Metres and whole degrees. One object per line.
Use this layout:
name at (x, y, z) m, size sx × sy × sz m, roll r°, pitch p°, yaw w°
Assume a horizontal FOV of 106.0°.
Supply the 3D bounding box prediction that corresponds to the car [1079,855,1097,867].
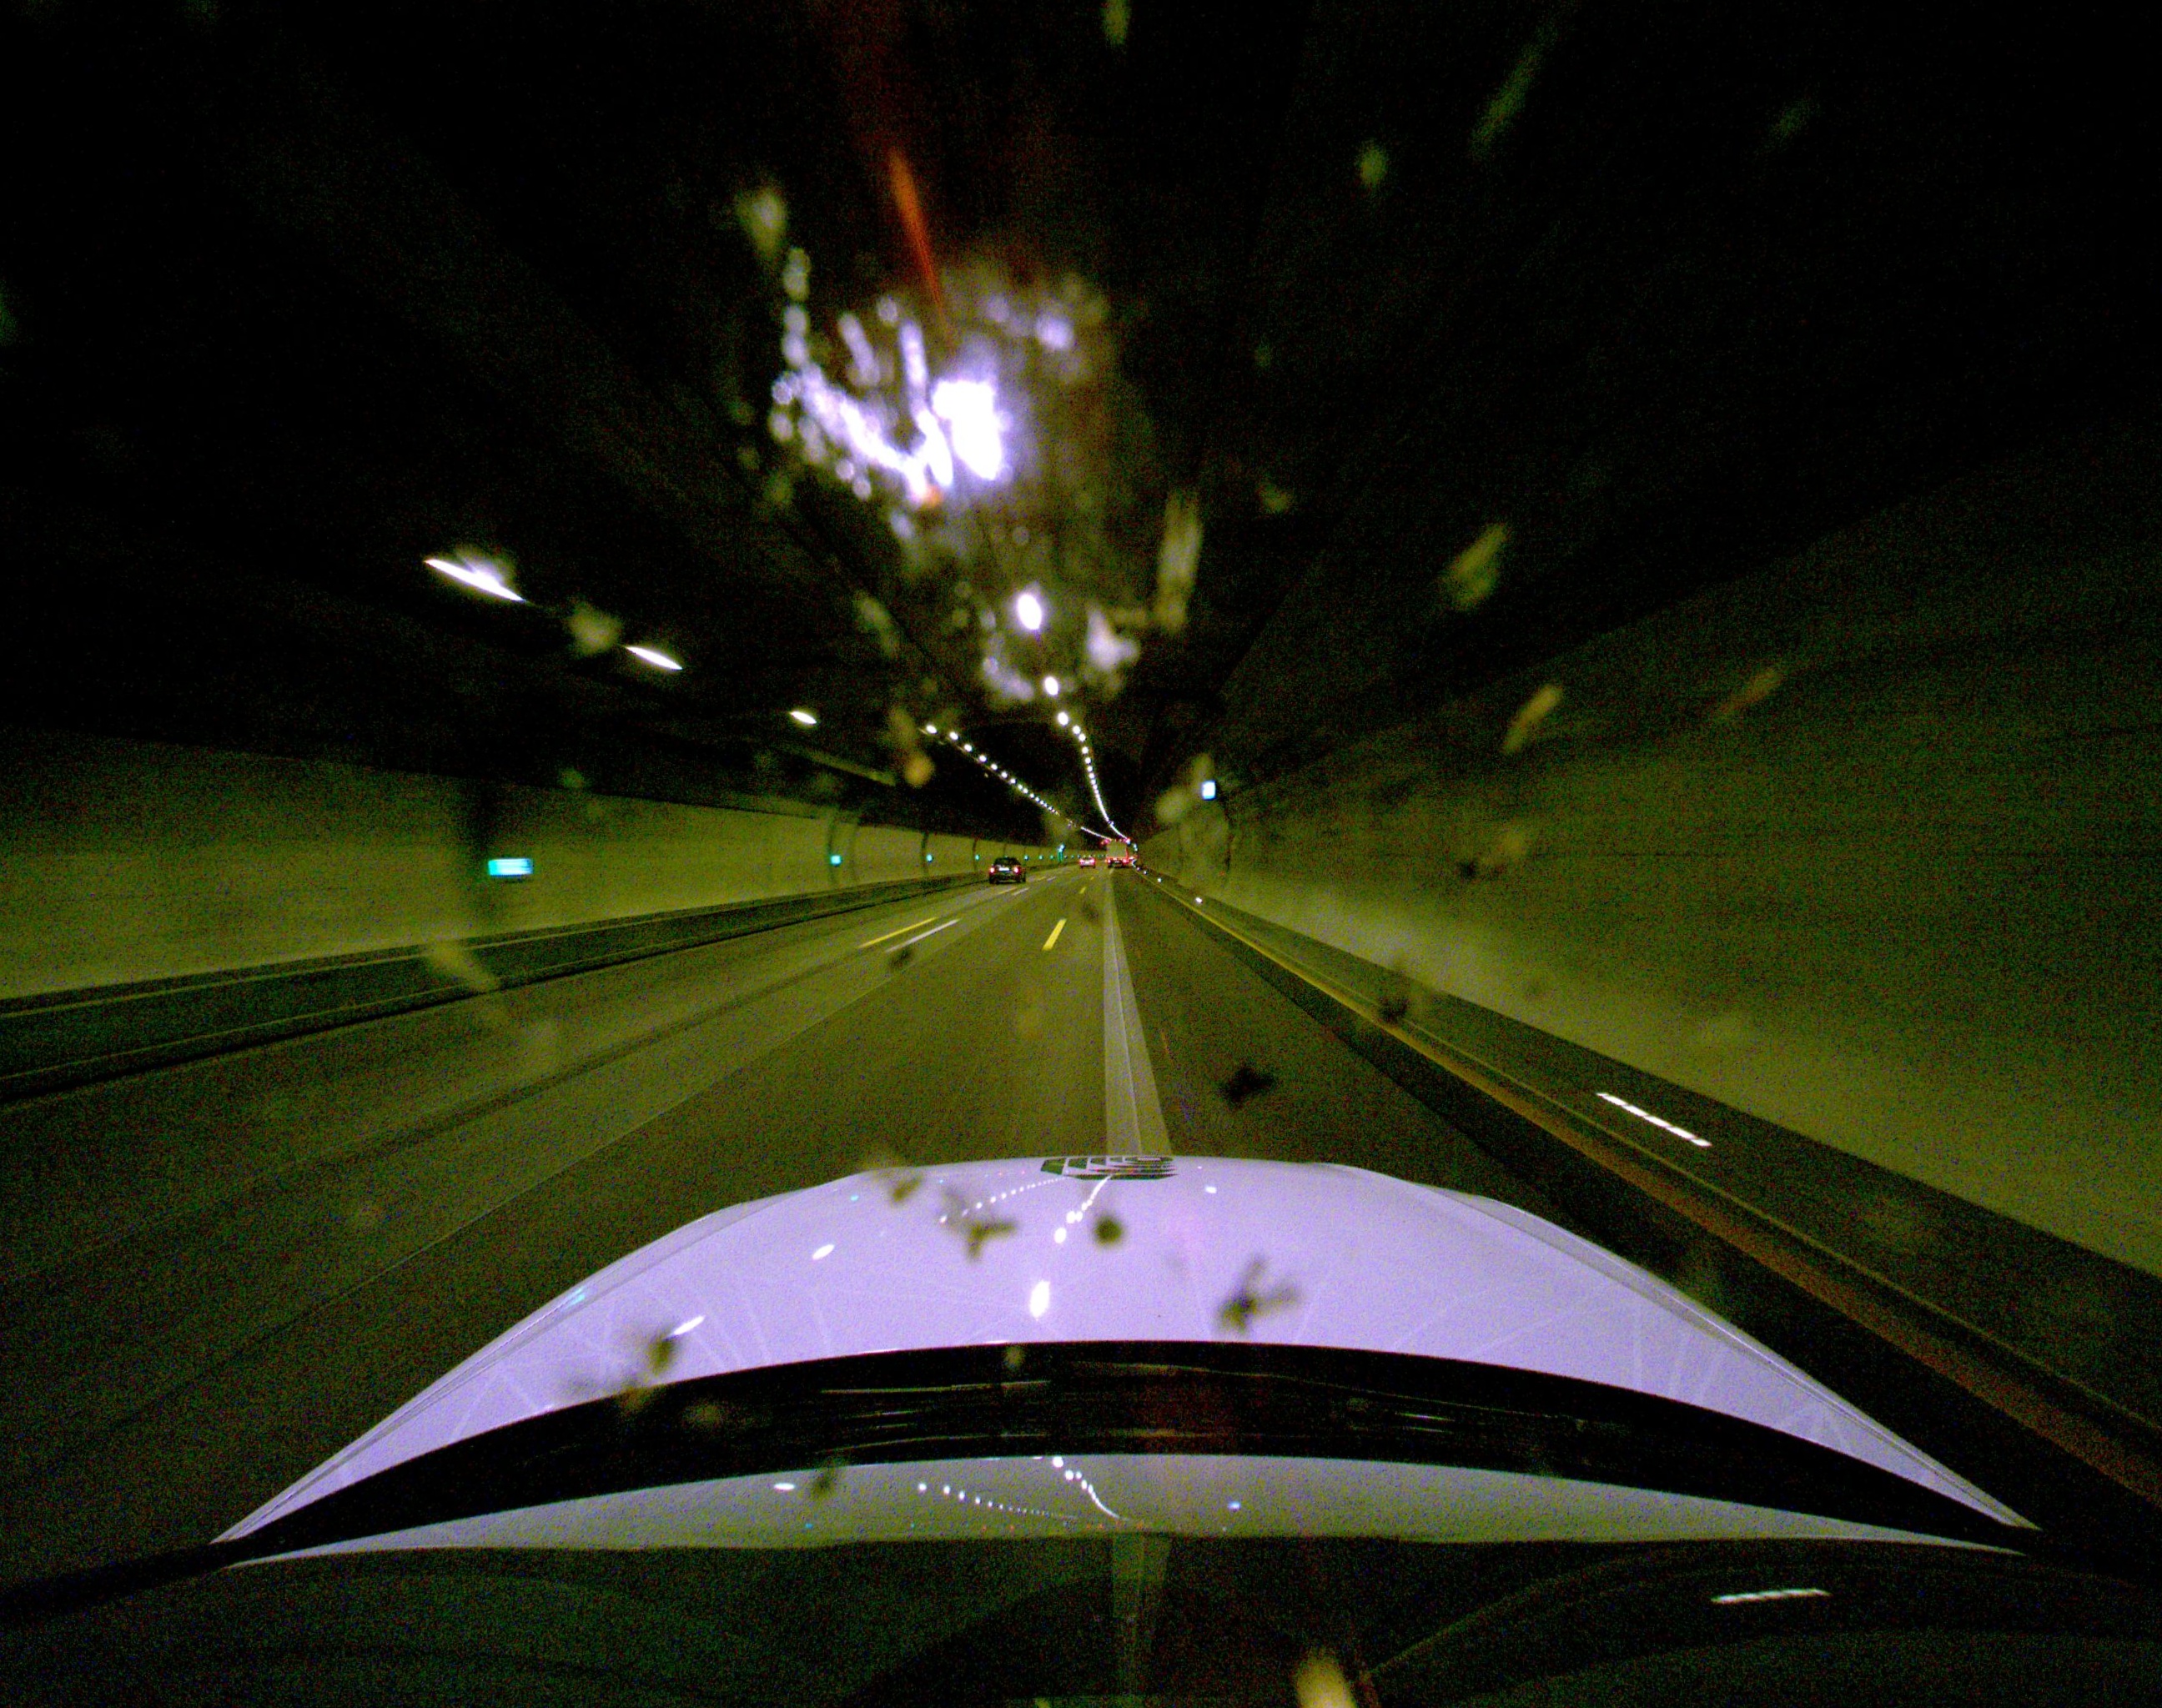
car at (0.860, 0.792, 99.115) m, size 1.986 × 1.413 × 4.745 m, roll -1°, pitch 0°, yaw 2°

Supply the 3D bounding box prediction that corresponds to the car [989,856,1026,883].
car at (-3.937, 0.806, 44.257) m, size 1.684 × 1.417 × 3.921 m, roll -1°, pitch 0°, yaw -1°

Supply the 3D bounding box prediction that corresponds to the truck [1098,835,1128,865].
truck at (4.172, -0.470, 104.582) m, size 3.578 × 3.650 × 10.729 m, roll -1°, pitch 0°, yaw 3°
